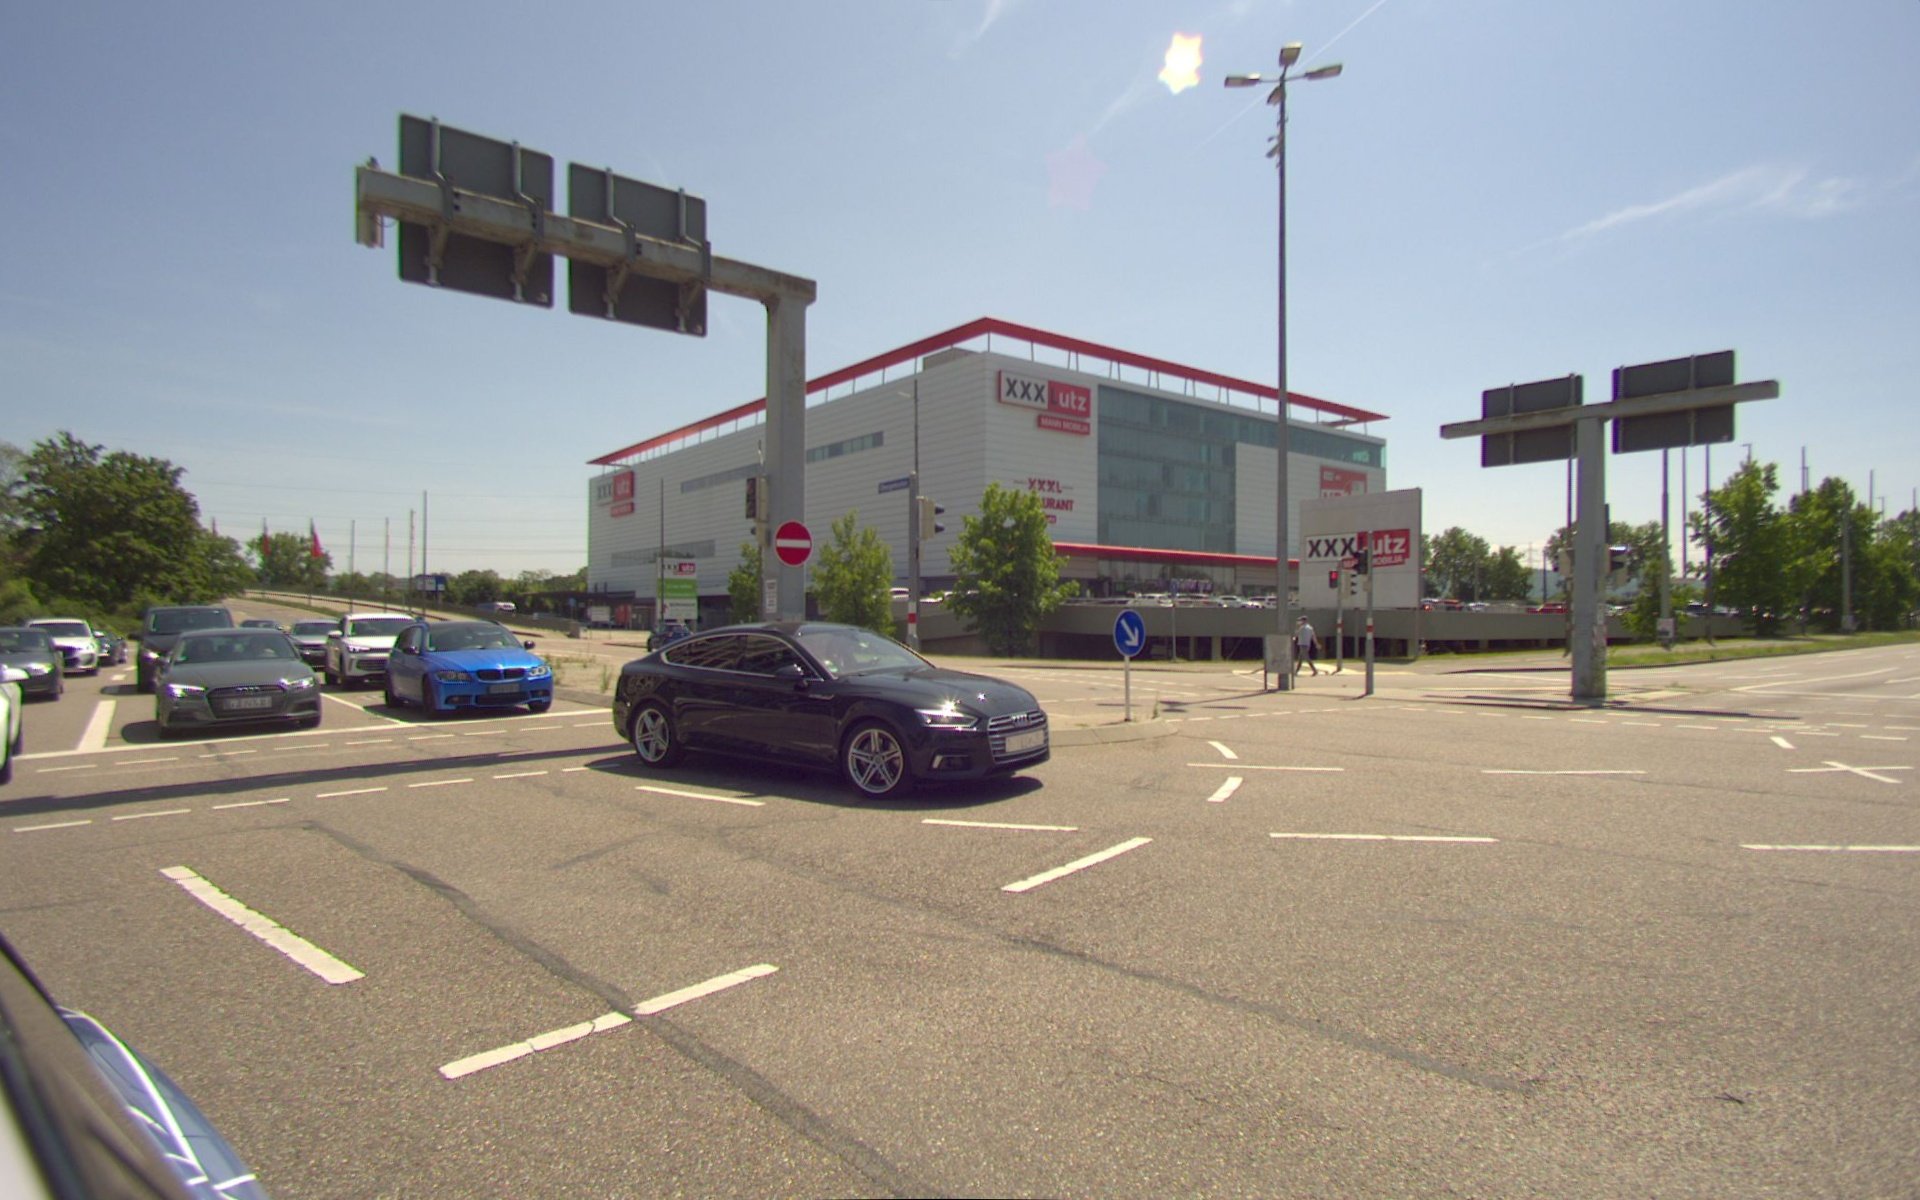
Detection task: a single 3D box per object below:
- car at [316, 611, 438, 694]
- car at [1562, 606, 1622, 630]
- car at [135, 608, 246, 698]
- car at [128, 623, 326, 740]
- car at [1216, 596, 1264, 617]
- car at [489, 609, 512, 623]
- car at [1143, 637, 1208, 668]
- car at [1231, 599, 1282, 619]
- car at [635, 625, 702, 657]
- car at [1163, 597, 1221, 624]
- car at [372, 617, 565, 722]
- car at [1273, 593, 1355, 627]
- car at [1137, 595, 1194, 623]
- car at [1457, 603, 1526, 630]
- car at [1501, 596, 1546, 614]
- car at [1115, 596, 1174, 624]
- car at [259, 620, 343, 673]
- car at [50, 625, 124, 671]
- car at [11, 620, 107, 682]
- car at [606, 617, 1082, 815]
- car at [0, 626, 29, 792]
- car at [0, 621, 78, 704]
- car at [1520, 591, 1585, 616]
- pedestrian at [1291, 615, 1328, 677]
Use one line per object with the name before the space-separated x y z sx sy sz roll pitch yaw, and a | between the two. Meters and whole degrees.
car | -13.215 1.109 22.808 1.742 1.653 4.500 -1 0 -38
car | 55.675 1.589 89.201 1.968 2.029 4.007 1 -1 -40
car | -17.732 1.129 23.475 1.866 1.835 4.848 -1 0 -36
car | -10.441 1.070 14.301 1.744 1.393 4.093 1 -3 -43
car | 24.755 0.576 89.566 1.755 1.801 3.846 1 -1 -40
car | -72.183 2.524 158.981 2.158 2.300 4.823 1 -2 -37
car | 13.169 3.177 61.670 3.940 1.719 2.002 1 -2 -43
car | 26.620 0.818 91.072 1.755 1.694 4.142 1 -1 -40
car | -15.422 2.114 53.511 1.968 1.608 4.007 1 -2 -40
car | 17.935 0.832 78.274 1.755 2.029 4.142 1 -1 -40
car | -8.021 1.029 16.290 1.743 1.413 4.438 0 -1 -40
car | 21.527 0.622 61.644 1.970 2.029 4.333 1 -1 -44
car | 15.600 0.684 76.964 1.755 2.029 4.142 1 -1 -40
car | 41.247 1.274 78.620 1.968 2.029 4.337 1 -1 -40
car | 63.482 0.596 114.110 1.969 2.029 4.006 1 -1 -41
car | 13.777 0.780 75.653 1.755 2.029 4.241 1 -1 -40
car | -19.951 1.373 30.774 1.740 1.433 3.911 -1 -1 -27
car | -29.787 1.586 34.618 1.742 1.413 3.958 0 -1 -39
car | -25.829 1.404 29.118 1.750 1.621 3.829 1 -1 -37
car | -1.233 0.882 9.300 4.459 1.415 1.656 -1 -2 37
car | -10.516 1.018 9.953 1.796 1.447 4.291 -2 0 -40
car | -19.202 1.214 20.615 1.532 1.548 3.829 1 -2 -36
car | 50.201 0.326 85.799 1.968 2.029 4.337 1 -1 -40
pedestrian | 10.312 1.350 29.903 0.595 1.797 0.828 1 -2 -37
